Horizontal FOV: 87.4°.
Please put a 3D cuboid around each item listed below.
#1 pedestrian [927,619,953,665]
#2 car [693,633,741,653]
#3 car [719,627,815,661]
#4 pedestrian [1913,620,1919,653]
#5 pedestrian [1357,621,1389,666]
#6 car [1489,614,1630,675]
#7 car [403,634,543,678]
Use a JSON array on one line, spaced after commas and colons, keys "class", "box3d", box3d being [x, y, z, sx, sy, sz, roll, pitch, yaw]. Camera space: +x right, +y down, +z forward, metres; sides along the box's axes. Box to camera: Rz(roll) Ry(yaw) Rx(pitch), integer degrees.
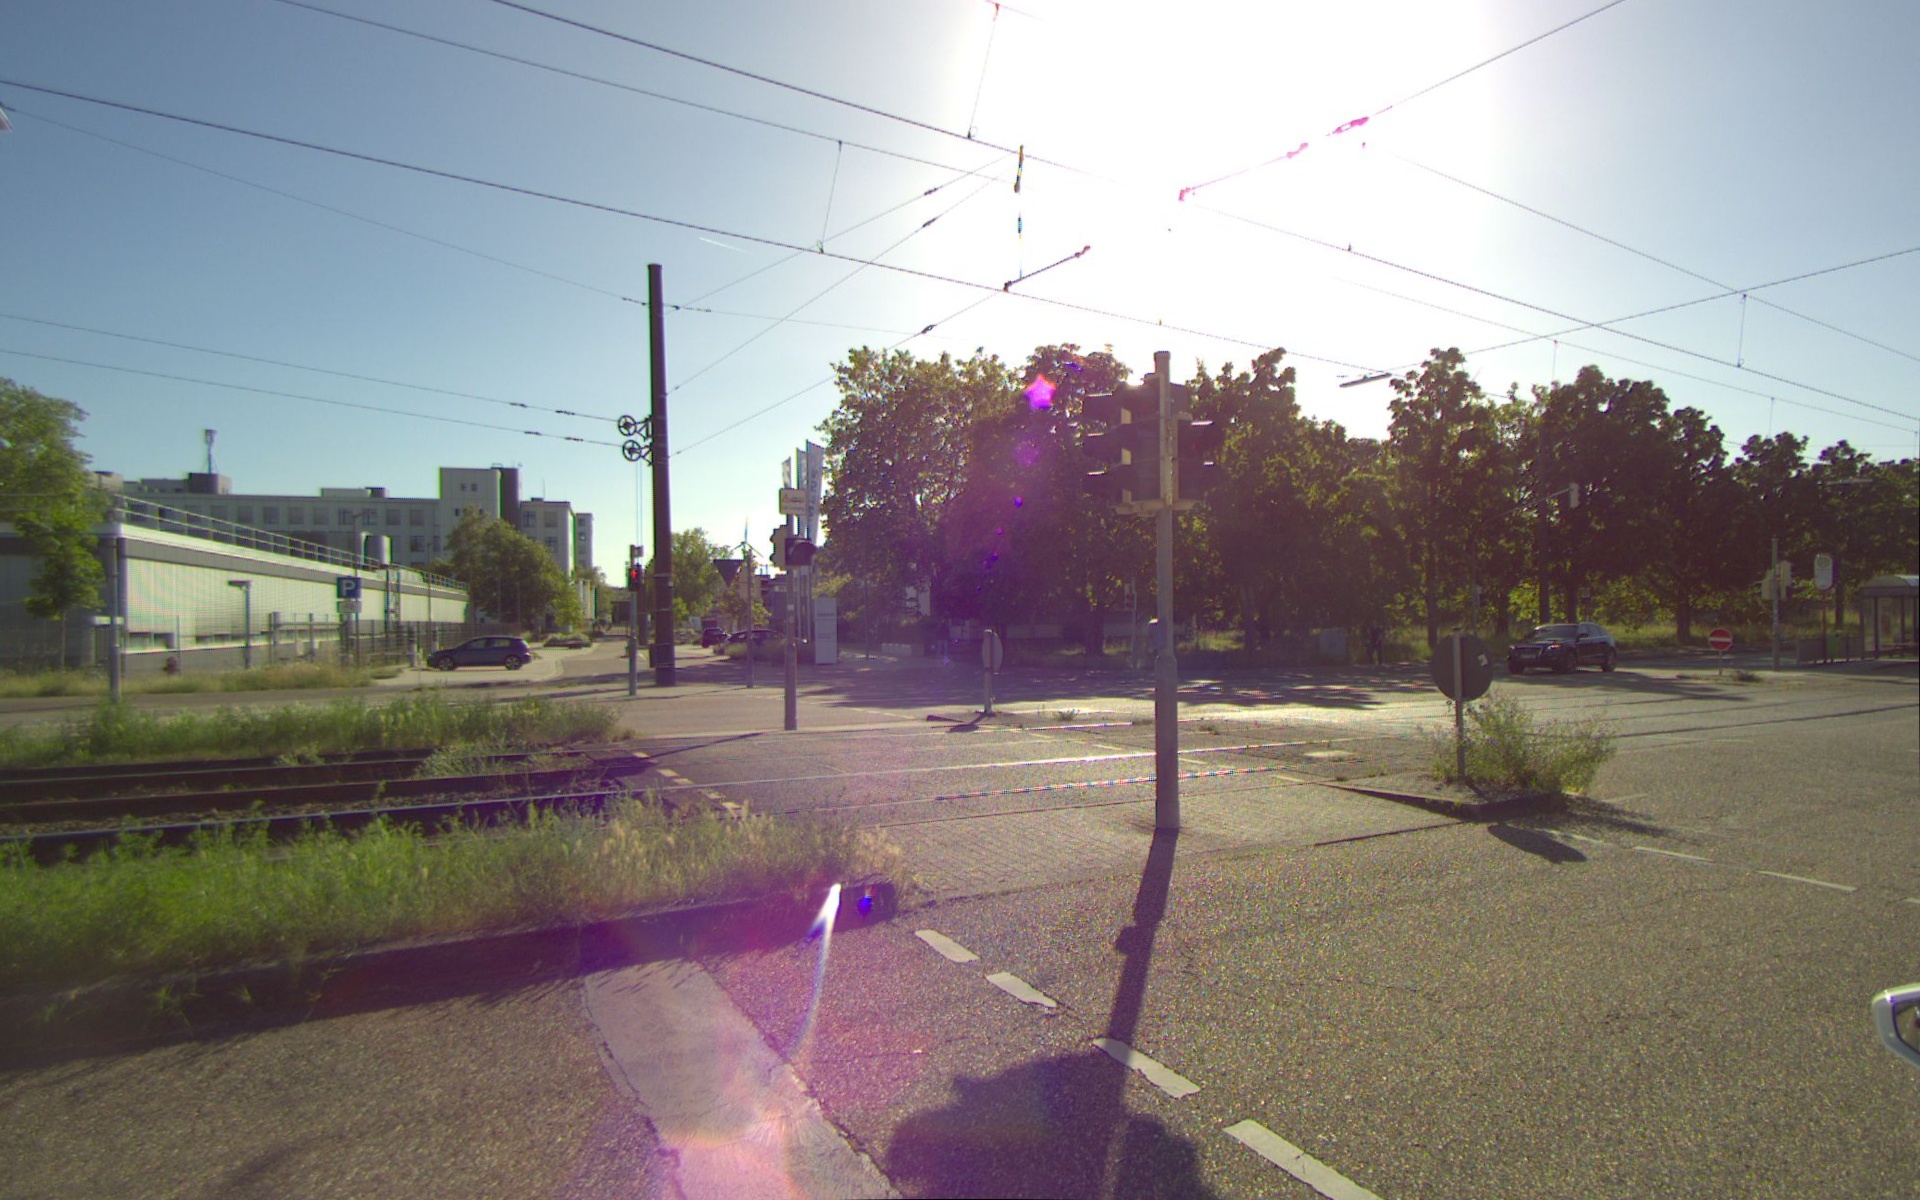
[{"class": "pedestrian", "box3d": [-0.793, 1.661, 39.854, 0.807, 1.811, 0.950, 0, -1, -16]}, {"class": "car", "box3d": [-19.723, 3.475, 81.625, 3.566, 1.611, 1.792, 1, -1, -23]}, {"class": "car", "box3d": [-10.331, 2.344, 53.780, 4.768, 1.751, 2.042, 1, -1, -22]}, {"class": "pedestrian", "box3d": [36.672, 1.385, 38.128, 0.574, 1.273, 0.561, 1, -3, -31]}, {"class": "pedestrian", "box3d": [16.322, 1.705, 39.711, 0.919, 1.757, 0.761, 0, -1, -2]}, {"class": "car", "box3d": [20.091, 1.464, 33.615, 4.740, 1.834, 2.082, 0, -3, -33]}, {"class": "car", "box3d": [-21.186, 2.409, 43.957, 5.210, 1.772, 2.164, 1, -1, -19]}]
